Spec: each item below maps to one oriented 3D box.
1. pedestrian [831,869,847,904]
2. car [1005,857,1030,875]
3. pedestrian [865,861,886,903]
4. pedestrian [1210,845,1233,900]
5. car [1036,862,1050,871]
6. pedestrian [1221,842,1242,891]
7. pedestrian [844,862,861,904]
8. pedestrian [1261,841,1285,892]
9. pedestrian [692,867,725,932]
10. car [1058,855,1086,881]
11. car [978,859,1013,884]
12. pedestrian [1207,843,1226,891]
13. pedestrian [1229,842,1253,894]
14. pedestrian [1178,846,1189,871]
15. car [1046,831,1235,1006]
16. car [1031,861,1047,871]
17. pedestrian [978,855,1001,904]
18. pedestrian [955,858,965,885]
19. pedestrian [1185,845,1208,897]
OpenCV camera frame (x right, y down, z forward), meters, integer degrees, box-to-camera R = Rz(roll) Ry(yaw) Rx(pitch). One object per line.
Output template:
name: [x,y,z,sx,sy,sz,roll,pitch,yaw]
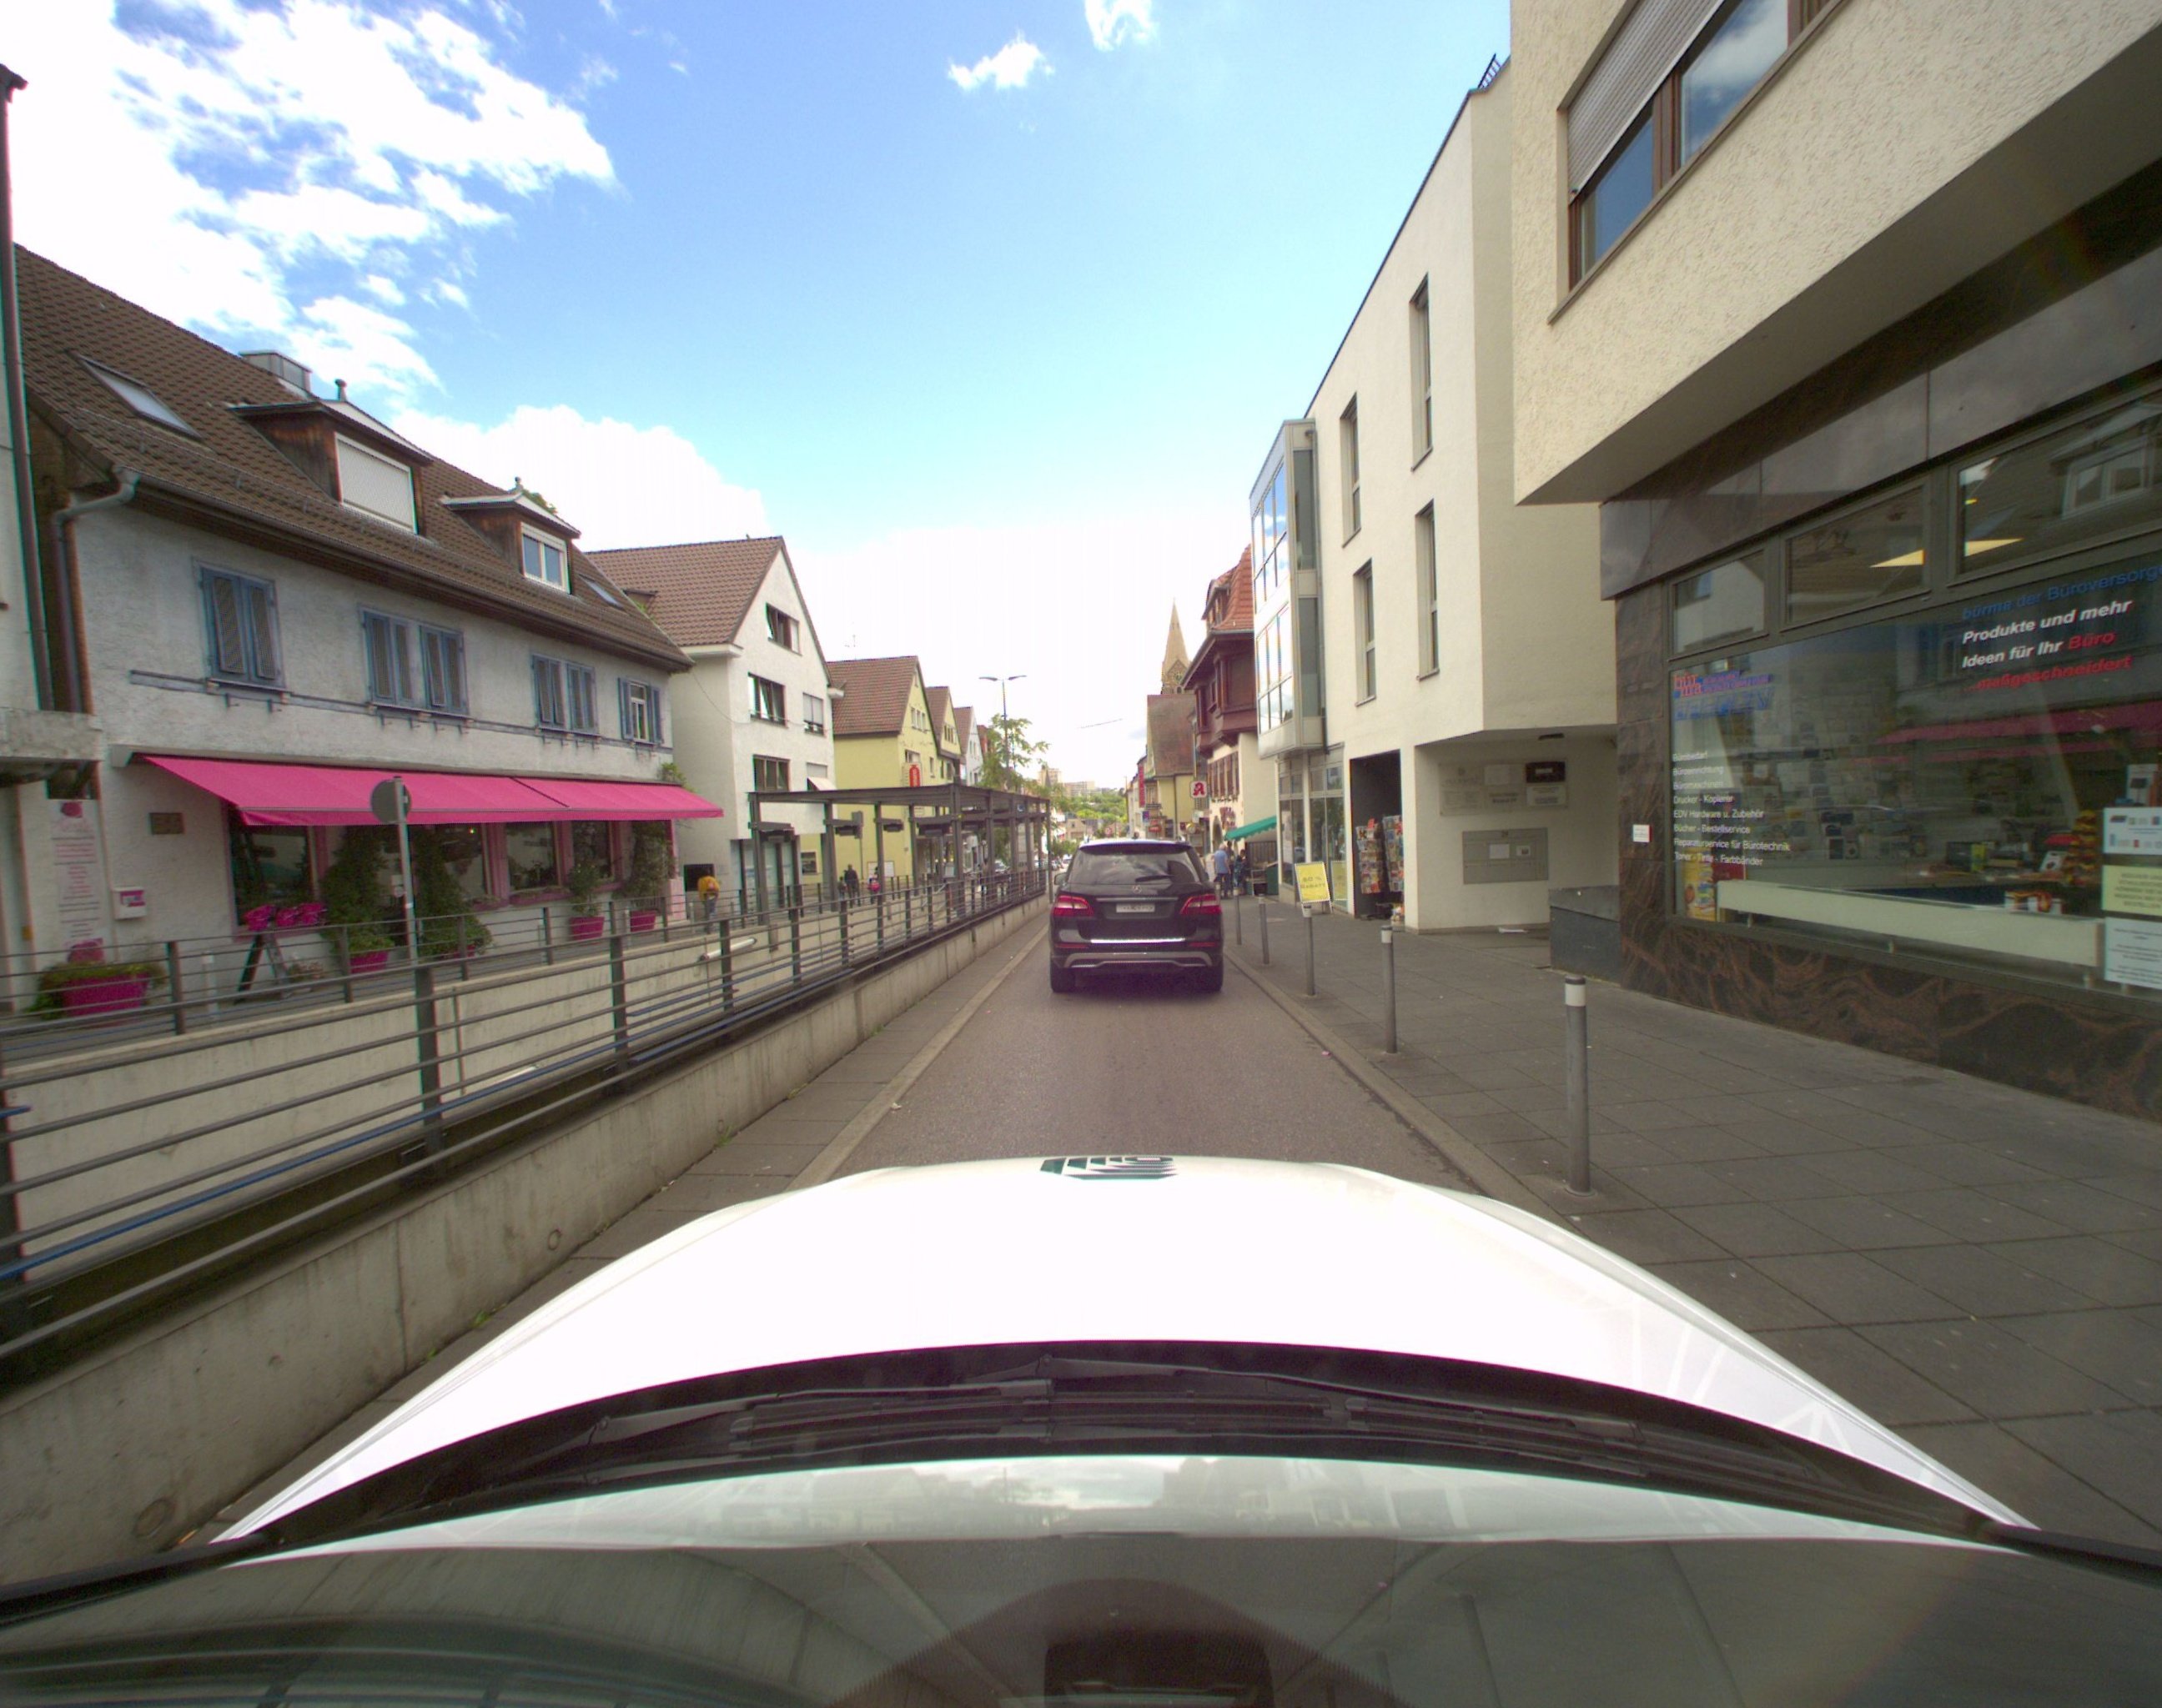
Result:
pedestrian: [-9.771,1.310,32.938,0.454,1.421,0.534,0,0,4]
car: [-5.445,1.037,70.141,1.654,1.490,3.750,0,0,2]
pedestrian: [-8.366,1.126,33.181,0.623,1.689,0.679,0,0,1]
pedestrian: [4.486,0.590,26.090,0.541,1.726,0.527,-3,0,-5]
car: [-4.833,1.612,104.243,1.383,1.070,3.114,-3,0,2]
pedestrian: [5.214,0.435,28.257,0.572,1.689,0.565,0,0,-5]
pedestrian: [-9.433,1.181,33.607,0.612,1.689,0.560,0,0,-13]
pedestrian: [6.467,0.417,27.420,0.572,1.689,0.565,-3,0,-5]
pedestrian: [-9.796,1.189,21.422,0.576,1.689,0.577,0,0,1]
car: [-0.608,0.959,56.111,1.764,1.713,4.001,0,0,2]
car: [-5.495,1.120,52.993,1.683,1.490,3.981,0,0,2]
pedestrian: [5.124,0.479,30.818,0.637,1.809,0.685,0,0,1]
pedestrian: [5.369,0.466,27.306,0.572,1.689,0.565,-3,0,-5]
pedestrian: [7.035,0.299,55.696,0.604,1.688,0.724,-3,0,1]
car: [0.612,0.651,10.199,1.894,1.747,4.000,0,0,0]
car: [-4.776,1.334,92.790,1.383,1.070,3.114,-3,0,2]
pedestrian: [-3.219,0.892,28.685,0.764,1.689,0.726,0,0,-5]
pedestrian: [-7.723,1.096,52.053,0.511,1.689,0.542,0,0,1]
pedestrian: [3.785,0.556,26.631,0.620,1.689,0.565,0,0,-5]
